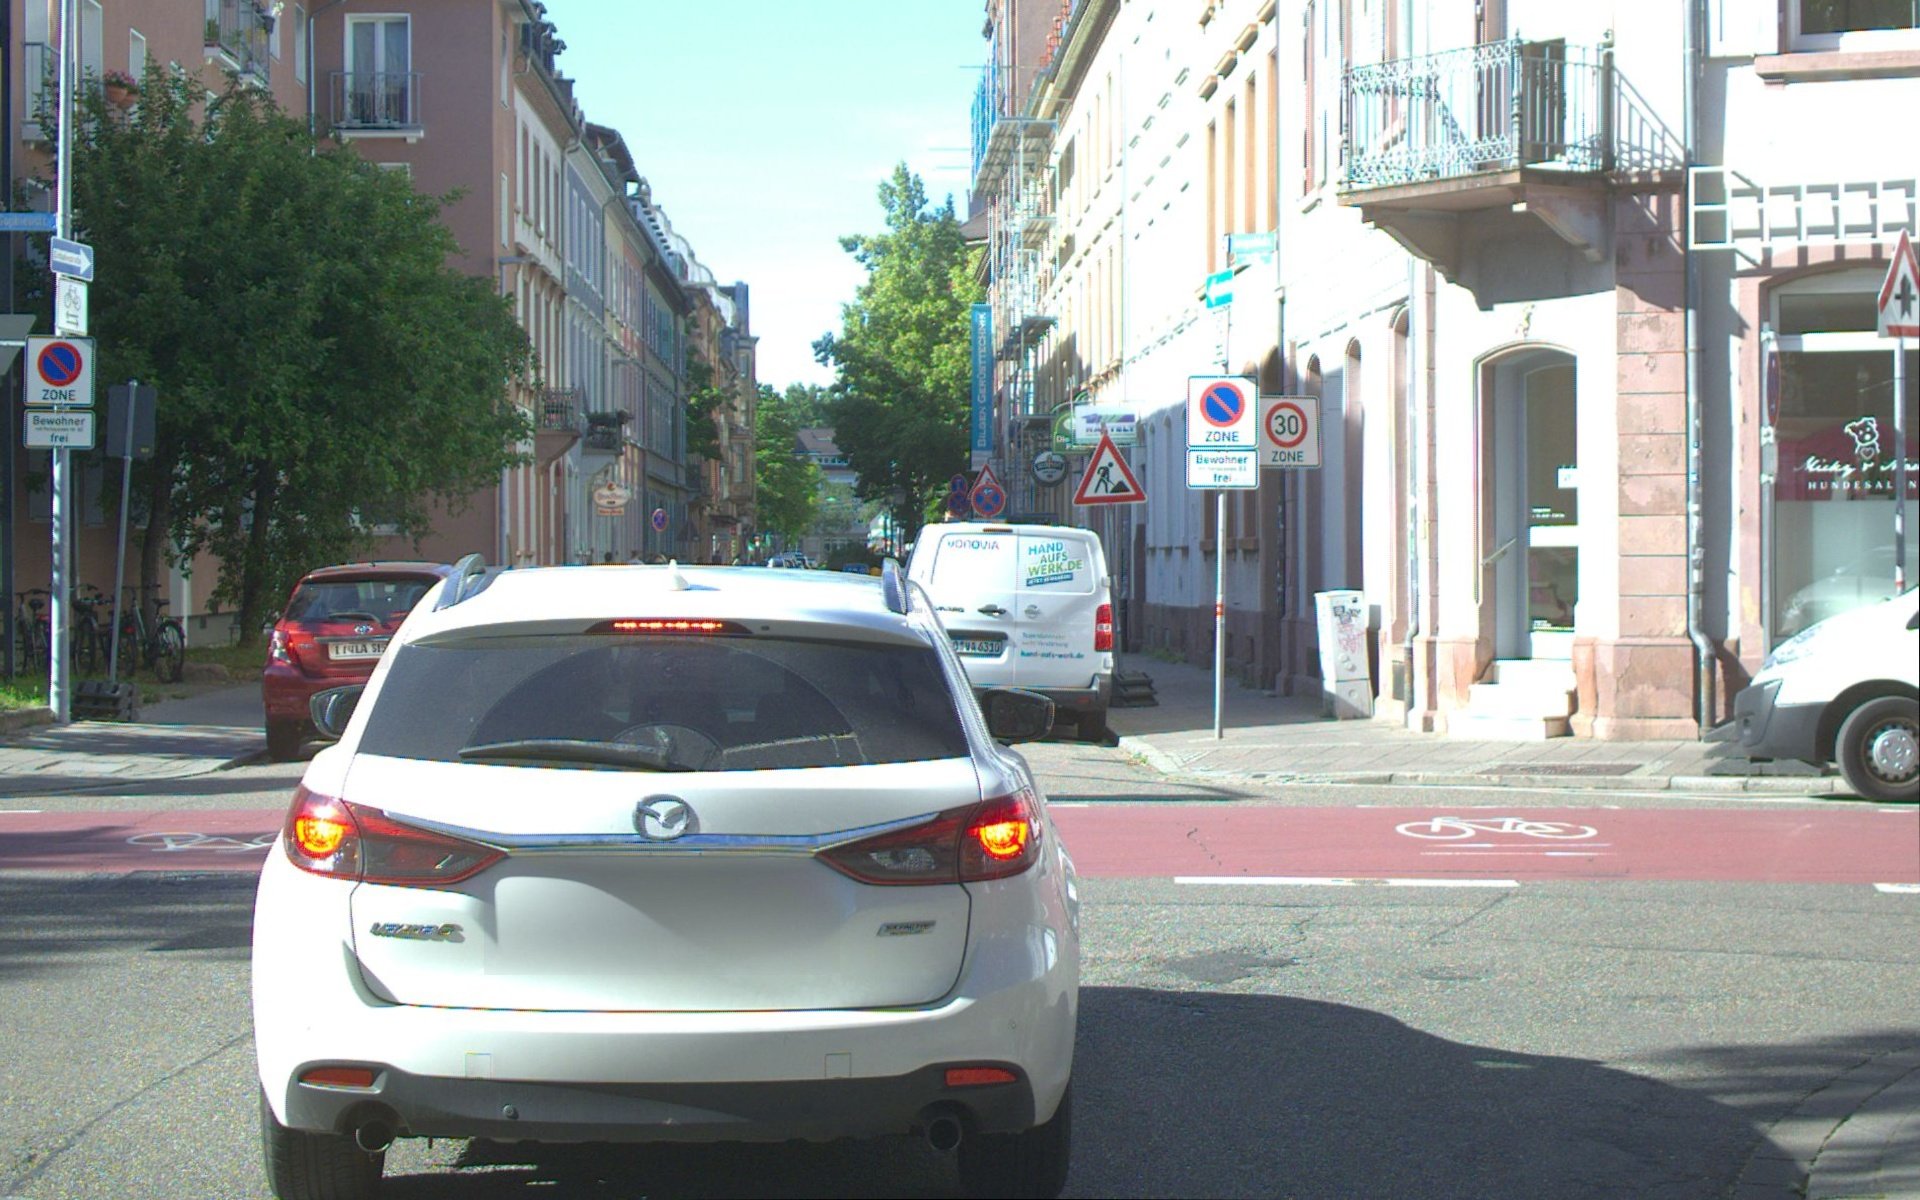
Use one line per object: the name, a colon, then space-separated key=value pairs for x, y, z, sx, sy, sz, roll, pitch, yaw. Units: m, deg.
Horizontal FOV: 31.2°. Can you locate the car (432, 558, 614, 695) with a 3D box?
car: x=-4.959 y=0.269 z=39.441 sx=1.653 sy=1.495 sz=3.763 roll=0 pitch=1 yaw=-1

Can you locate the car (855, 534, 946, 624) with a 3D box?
car: x=-1.256 y=-0.464 z=73.120 sx=1.894 sy=1.853 sz=3.995 roll=0 pitch=1 yaw=-1

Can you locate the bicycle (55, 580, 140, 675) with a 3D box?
bicycle: x=-9.912 y=0.312 z=39.488 sx=1.215 sy=1.068 sz=0.253 roll=1 pitch=1 yaw=38

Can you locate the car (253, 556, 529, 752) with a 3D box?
car: x=-4.596 y=0.390 z=28.249 sx=1.685 sy=1.495 sz=3.807 roll=0 pitch=1 yaw=-1

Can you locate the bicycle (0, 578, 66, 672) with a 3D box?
bicycle: x=-10.563 y=0.274 z=38.714 sx=1.215 sy=1.032 sz=0.290 roll=1 pitch=1 yaw=38

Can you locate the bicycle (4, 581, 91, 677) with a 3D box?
bicycle: x=-10.349 y=0.323 z=38.980 sx=1.215 sy=1.068 sz=0.265 roll=1 pitch=1 yaw=38

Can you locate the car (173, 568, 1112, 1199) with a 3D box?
car: x=-0.647 y=0.654 z=8.705 sx=1.831 sy=1.452 sz=3.962 roll=0 pitch=1 yaw=-1

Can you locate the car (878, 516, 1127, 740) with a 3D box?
car: x=0.305 y=0.206 z=31.864 sx=1.894 sy=1.853 sz=5.015 roll=2 pitch=1 yaw=-3

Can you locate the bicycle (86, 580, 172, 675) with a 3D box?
bicycle: x=-9.573 y=0.310 z=39.594 sx=1.218 sy=1.068 sz=0.253 roll=1 pitch=1 yaw=38

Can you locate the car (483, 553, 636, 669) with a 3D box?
car: x=-5.323 y=0.114 z=46.057 sx=1.653 sy=1.495 sz=3.763 roll=0 pitch=1 yaw=-1

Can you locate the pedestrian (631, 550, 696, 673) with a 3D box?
pedestrian: x=-3.937 y=0.143 z=45.605 sx=0.733 sy=1.608 sz=0.816 roll=-1 pitch=0 yaw=-13

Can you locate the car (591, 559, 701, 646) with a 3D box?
car: x=-5.521 y=0.017 z=60.795 sx=1.653 sy=1.495 sz=3.763 roll=0 pitch=1 yaw=-1

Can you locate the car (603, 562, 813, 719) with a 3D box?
car: x=-2.371 y=0.344 z=33.199 sx=1.760 sy=1.405 sz=4.328 roll=0 pitch=1 yaw=-1

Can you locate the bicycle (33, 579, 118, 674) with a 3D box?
bicycle: x=-10.102 y=0.298 z=39.255 sx=1.215 sy=1.067 sz=0.253 roll=1 pitch=1 yaw=38

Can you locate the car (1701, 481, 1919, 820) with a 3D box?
car: x=7.044 y=0.283 z=20.159 sx=5.015 sy=1.939 sz=2.048 roll=0 pitch=1 yaw=22

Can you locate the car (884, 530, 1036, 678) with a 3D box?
car: x=-0.024 y=0.022 z=45.044 sx=1.894 sy=1.853 sz=3.995 roll=0 pitch=1 yaw=-1

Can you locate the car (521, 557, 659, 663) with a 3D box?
car: x=-5.354 y=0.119 z=50.150 sx=1.653 sy=1.495 sz=3.763 roll=0 pitch=1 yaw=-1

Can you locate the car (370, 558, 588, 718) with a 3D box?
car: x=-4.739 y=0.335 z=34.306 sx=1.653 sy=1.495 sz=4.080 roll=0 pitch=1 yaw=-1

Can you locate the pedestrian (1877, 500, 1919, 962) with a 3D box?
pedestrian: x=2.624 y=0.519 z=7.551 sx=0.844 sy=1.568 sz=0.846 roll=-5 pitch=0 yaw=-1
